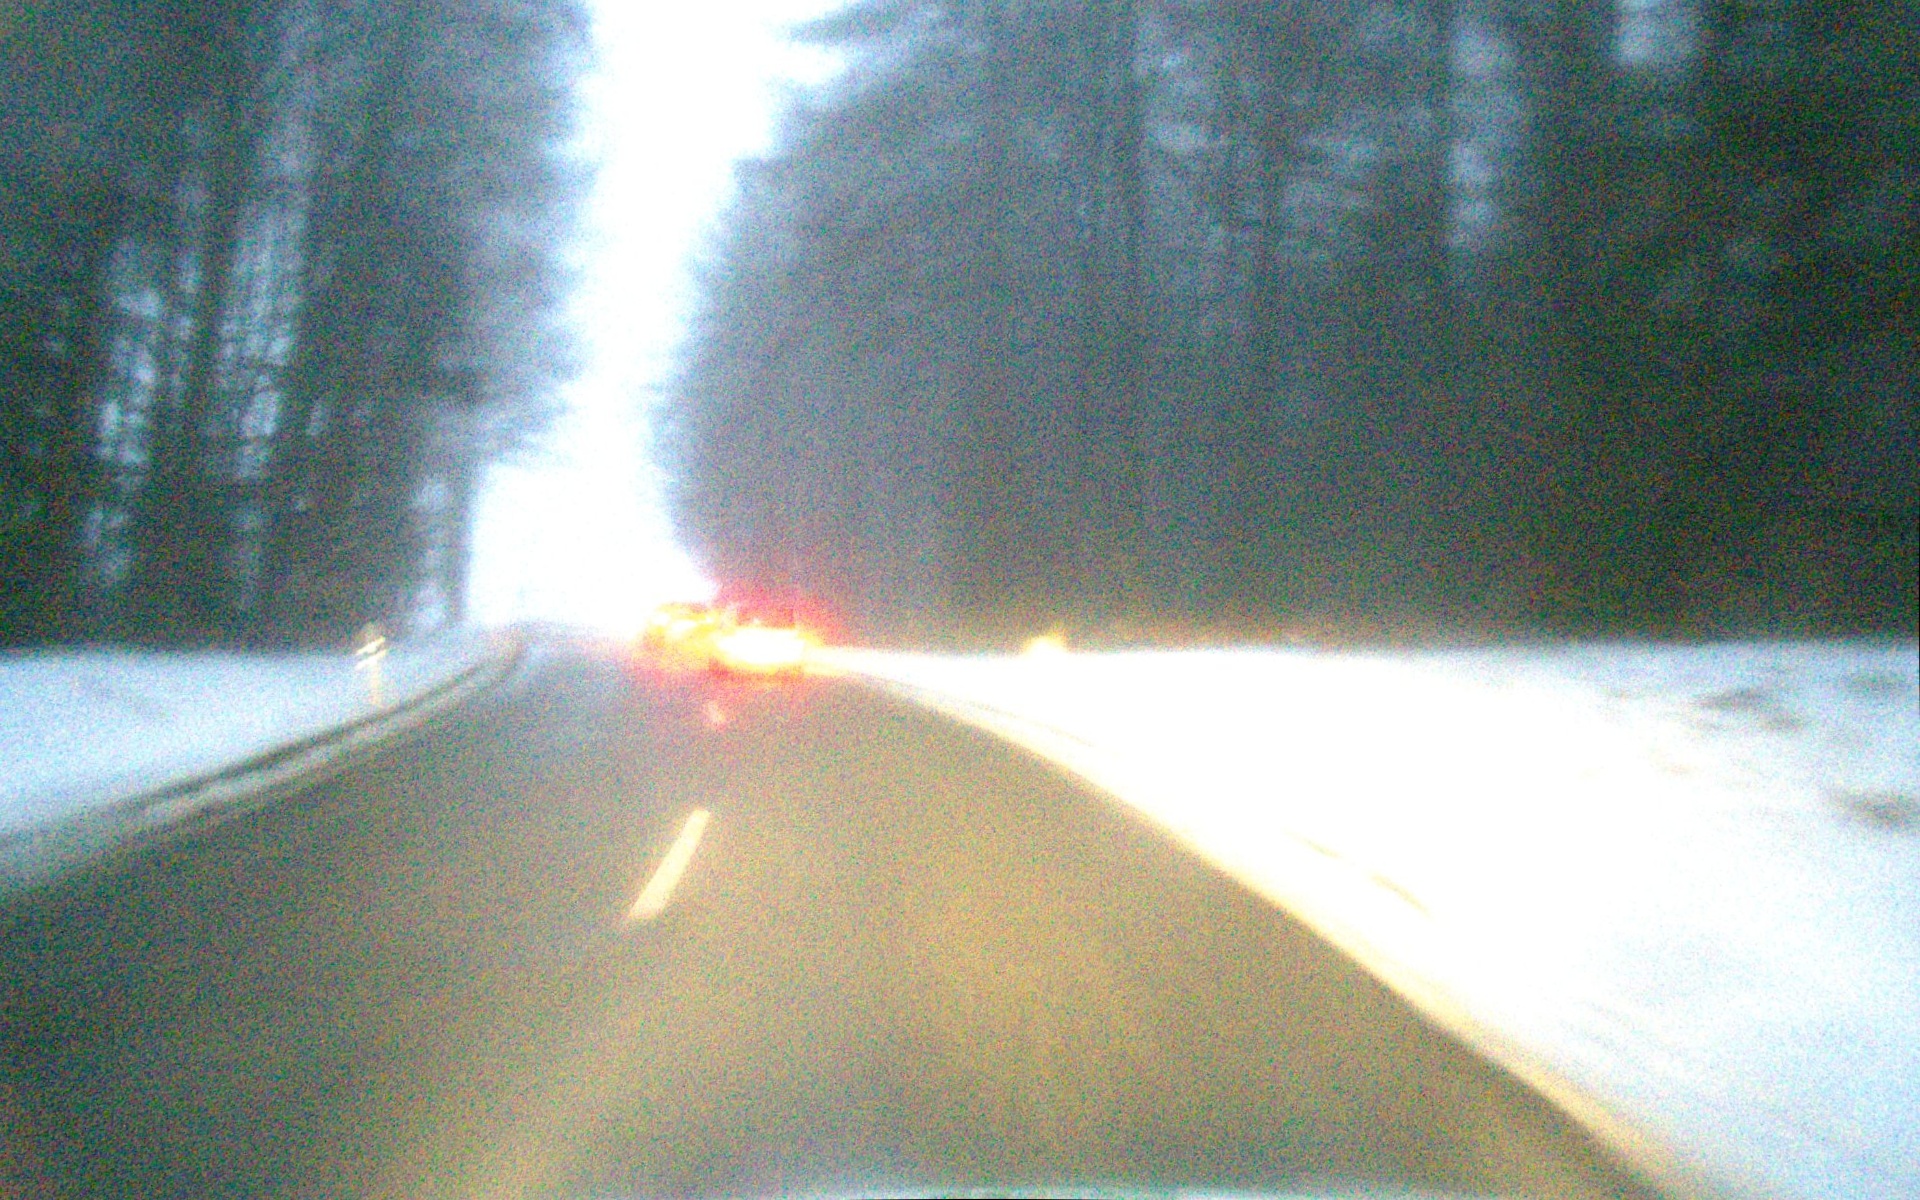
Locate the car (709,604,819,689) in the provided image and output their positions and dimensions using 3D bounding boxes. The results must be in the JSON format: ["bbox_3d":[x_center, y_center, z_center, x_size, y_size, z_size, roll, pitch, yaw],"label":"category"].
[{"bbox_3d":[-3.858,0.878,32.261,1.910,1.405,3.992,5,-1,-8],"label":"car"}]

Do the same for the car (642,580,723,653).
[{"bbox_3d":[-8.076,0.501,47.870,1.959,1.813,3.987,6,-2,-12],"label":"car"}]
